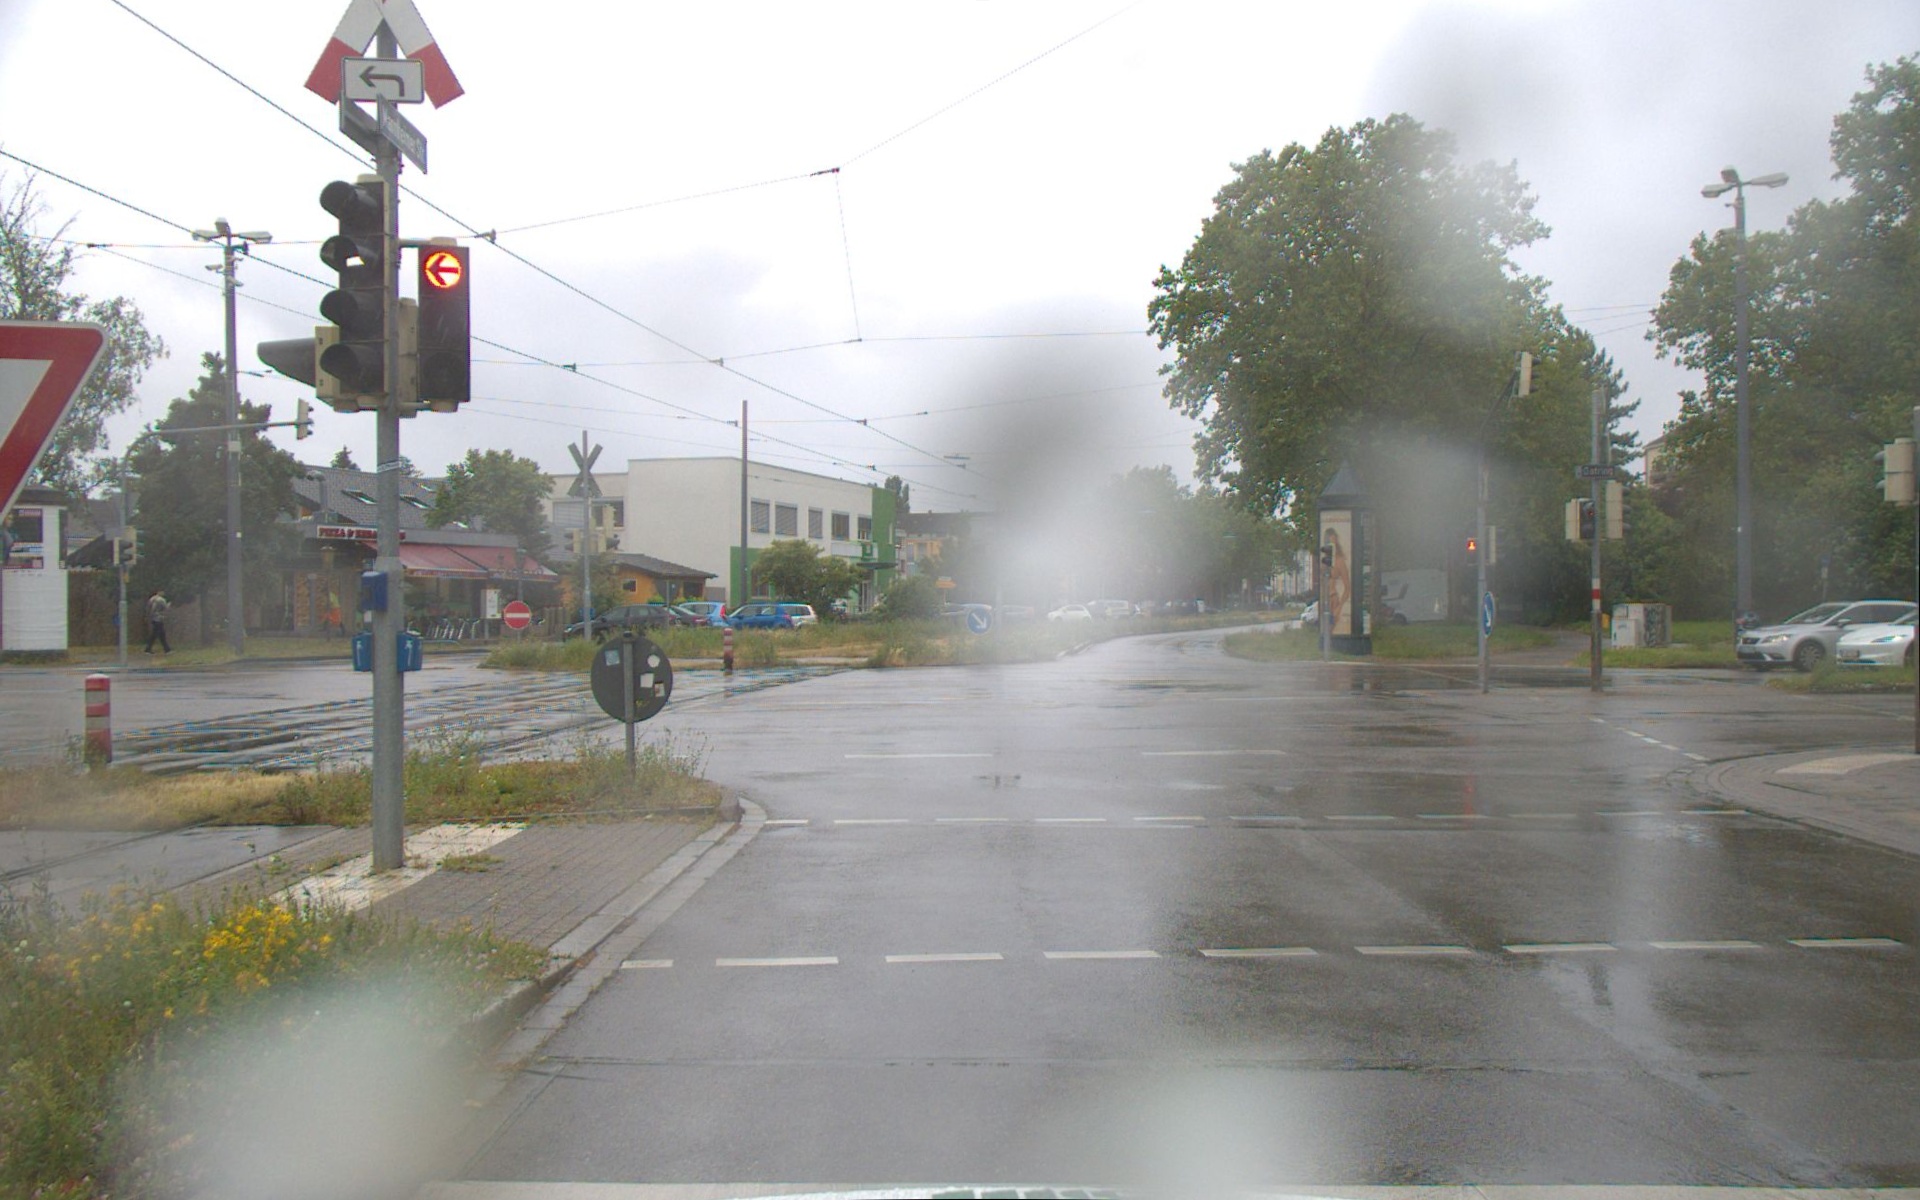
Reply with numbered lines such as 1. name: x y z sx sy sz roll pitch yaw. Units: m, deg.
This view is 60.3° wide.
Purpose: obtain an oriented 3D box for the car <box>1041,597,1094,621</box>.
1. car: 8.269 0.687 126.889 3.706 1.732 1.832 1 0 -11

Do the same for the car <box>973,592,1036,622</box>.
1. car: 2.937 0.489 110.182 3.911 1.920 1.997 1 0 -7

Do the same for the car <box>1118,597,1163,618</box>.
1. car: 17.358 0.721 159.175 3.909 1.864 1.998 1 0 -5

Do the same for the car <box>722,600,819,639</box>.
1. car: -8.358 0.866 72.778 4.040 1.670 1.922 0 0 -15

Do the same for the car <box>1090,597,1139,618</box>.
1. car: 13.533 0.634 145.056 3.916 1.789 2.004 1 0 -12

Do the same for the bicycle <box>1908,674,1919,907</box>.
1. bicycle: 5.084 0.927 7.270 0.677 1.136 1.884 1 -1 -3

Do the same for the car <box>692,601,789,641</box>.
1. car: -9.257 0.867 69.589 3.916 1.609 1.924 0 0 -12

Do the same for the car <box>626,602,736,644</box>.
1. car: -10.885 0.894 64.612 3.903 1.609 1.859 0 0 4

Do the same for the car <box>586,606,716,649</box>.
1. car: -11.396 1.019 61.213 4.405 1.443 1.858 -2 0 0

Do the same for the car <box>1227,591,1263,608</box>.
1. car: 34.294 -0.052 199.213 3.909 1.864 1.998 1 0 -5

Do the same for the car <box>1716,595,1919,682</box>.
1. car: 18.418 0.793 34.650 4.309 1.721 1.931 1 0 -7

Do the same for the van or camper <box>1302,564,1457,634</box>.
1. van or camper: 20.514 -0.053 80.799 7.168 3.234 3.264 1 0 17

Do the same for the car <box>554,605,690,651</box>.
1. car: -11.978 0.985 58.798 4.385 1.443 1.858 -2 0 0

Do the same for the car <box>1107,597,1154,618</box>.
1. car: 15.885 0.675 154.083 3.916 1.864 1.994 1 0 -12

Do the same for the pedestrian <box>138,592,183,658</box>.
1. pedestrian: -22.709 0.710 47.008 0.709 1.829 0.887 2 0 13

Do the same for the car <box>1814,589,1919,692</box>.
1. car: 18.872 0.767 31.309 4.506 1.860 1.931 1 0 -7

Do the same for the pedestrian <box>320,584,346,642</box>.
1. pedestrian: -22.440 0.463 59.194 0.710 2.049 0.792 1 -1 -12

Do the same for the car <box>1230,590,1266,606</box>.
1. car: 35.502 -0.282 203.966 3.909 1.864 1.998 1 0 -5

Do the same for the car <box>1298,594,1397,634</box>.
1. car: 18.244 0.650 77.845 4.352 1.747 2.000 1 0 21

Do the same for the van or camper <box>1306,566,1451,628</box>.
1. van or camper: 22.802 -0.161 90.072 7.274 3.234 3.262 1 0 22
